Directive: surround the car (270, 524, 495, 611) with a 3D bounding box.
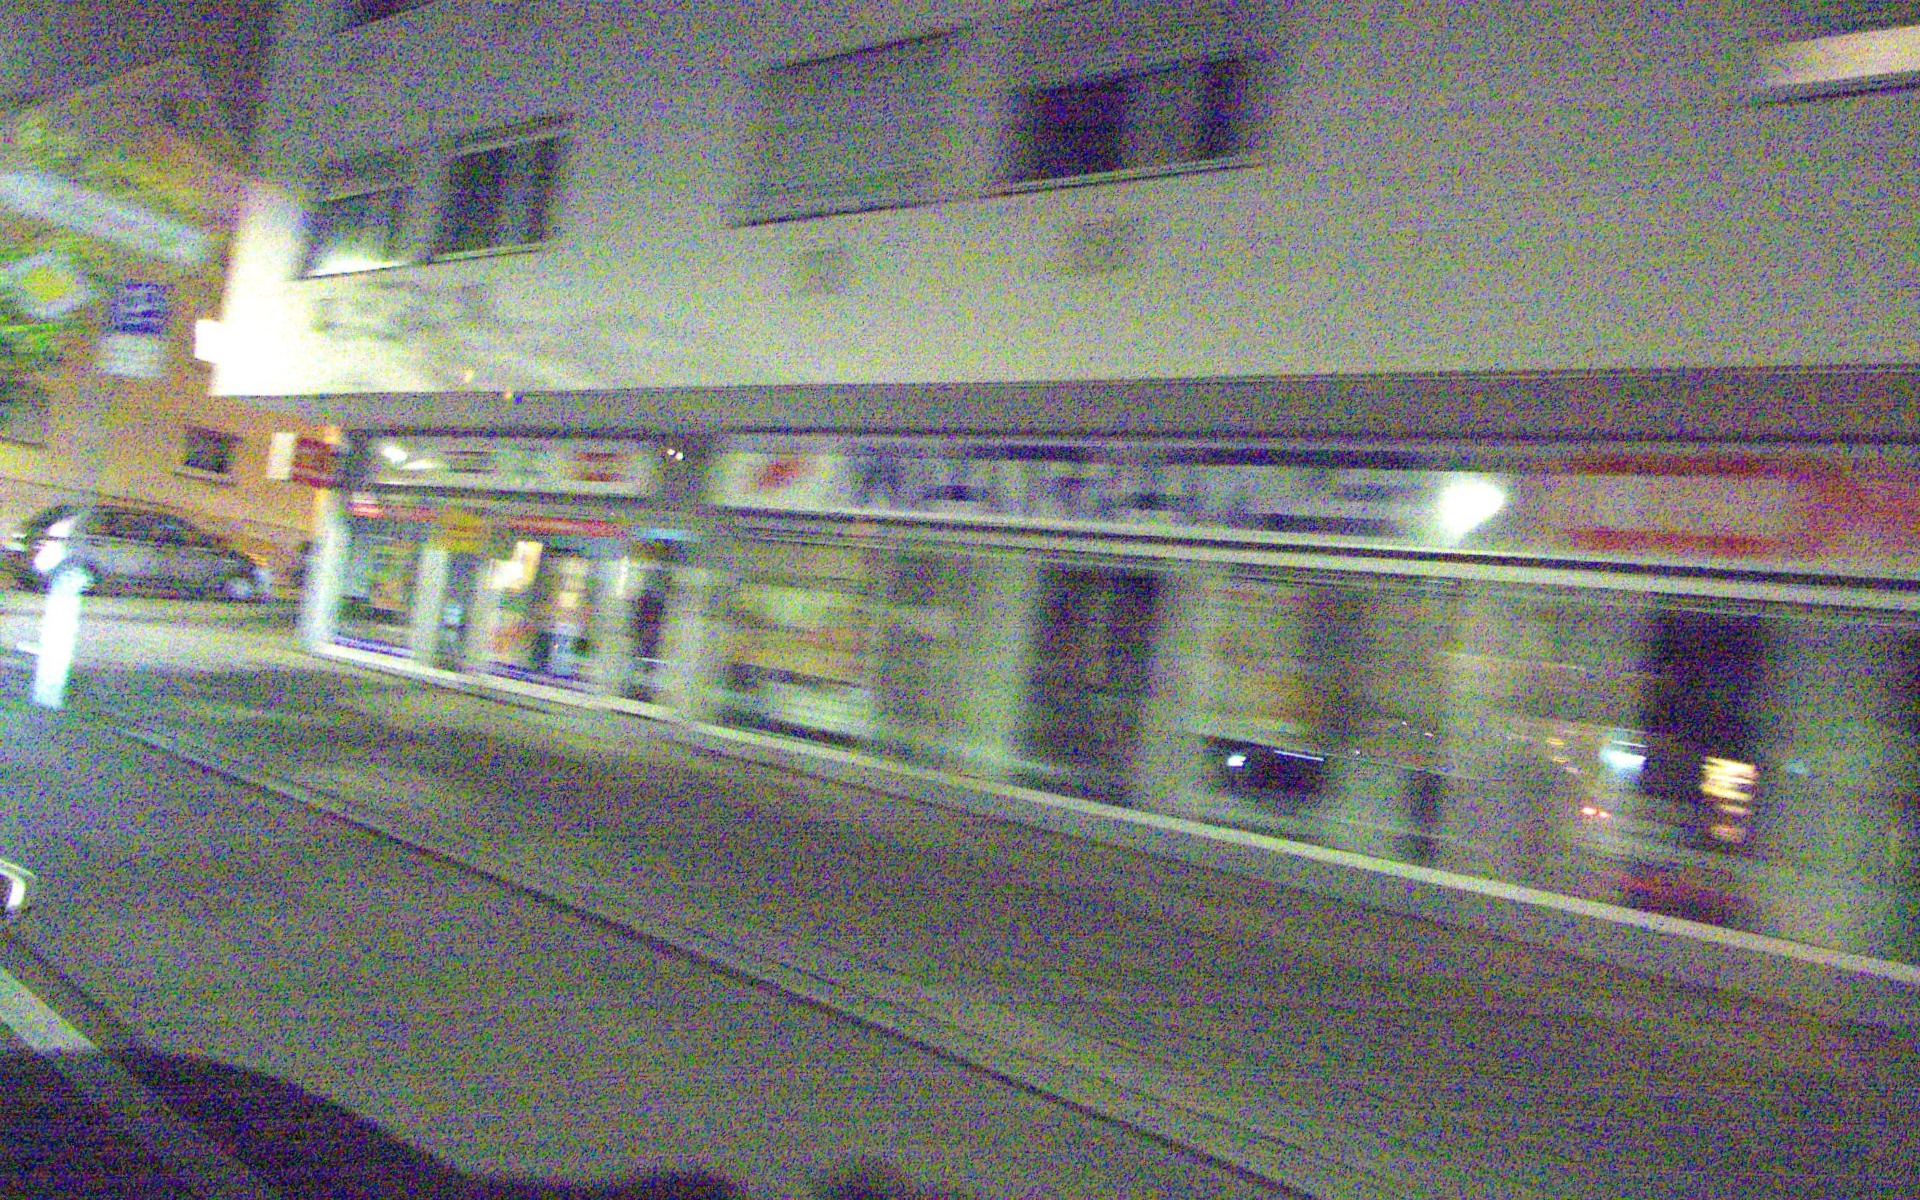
[{"bbox_3d":[-12.322,-0.645,21.695,1.648,1.516,3.849,6,1,29],"label":"car"}]

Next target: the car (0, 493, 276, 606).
[{"bbox_3d":[-14.364,-0.828,17.553,1.789,1.544,3.511,7,0,28],"label":"car"}]
